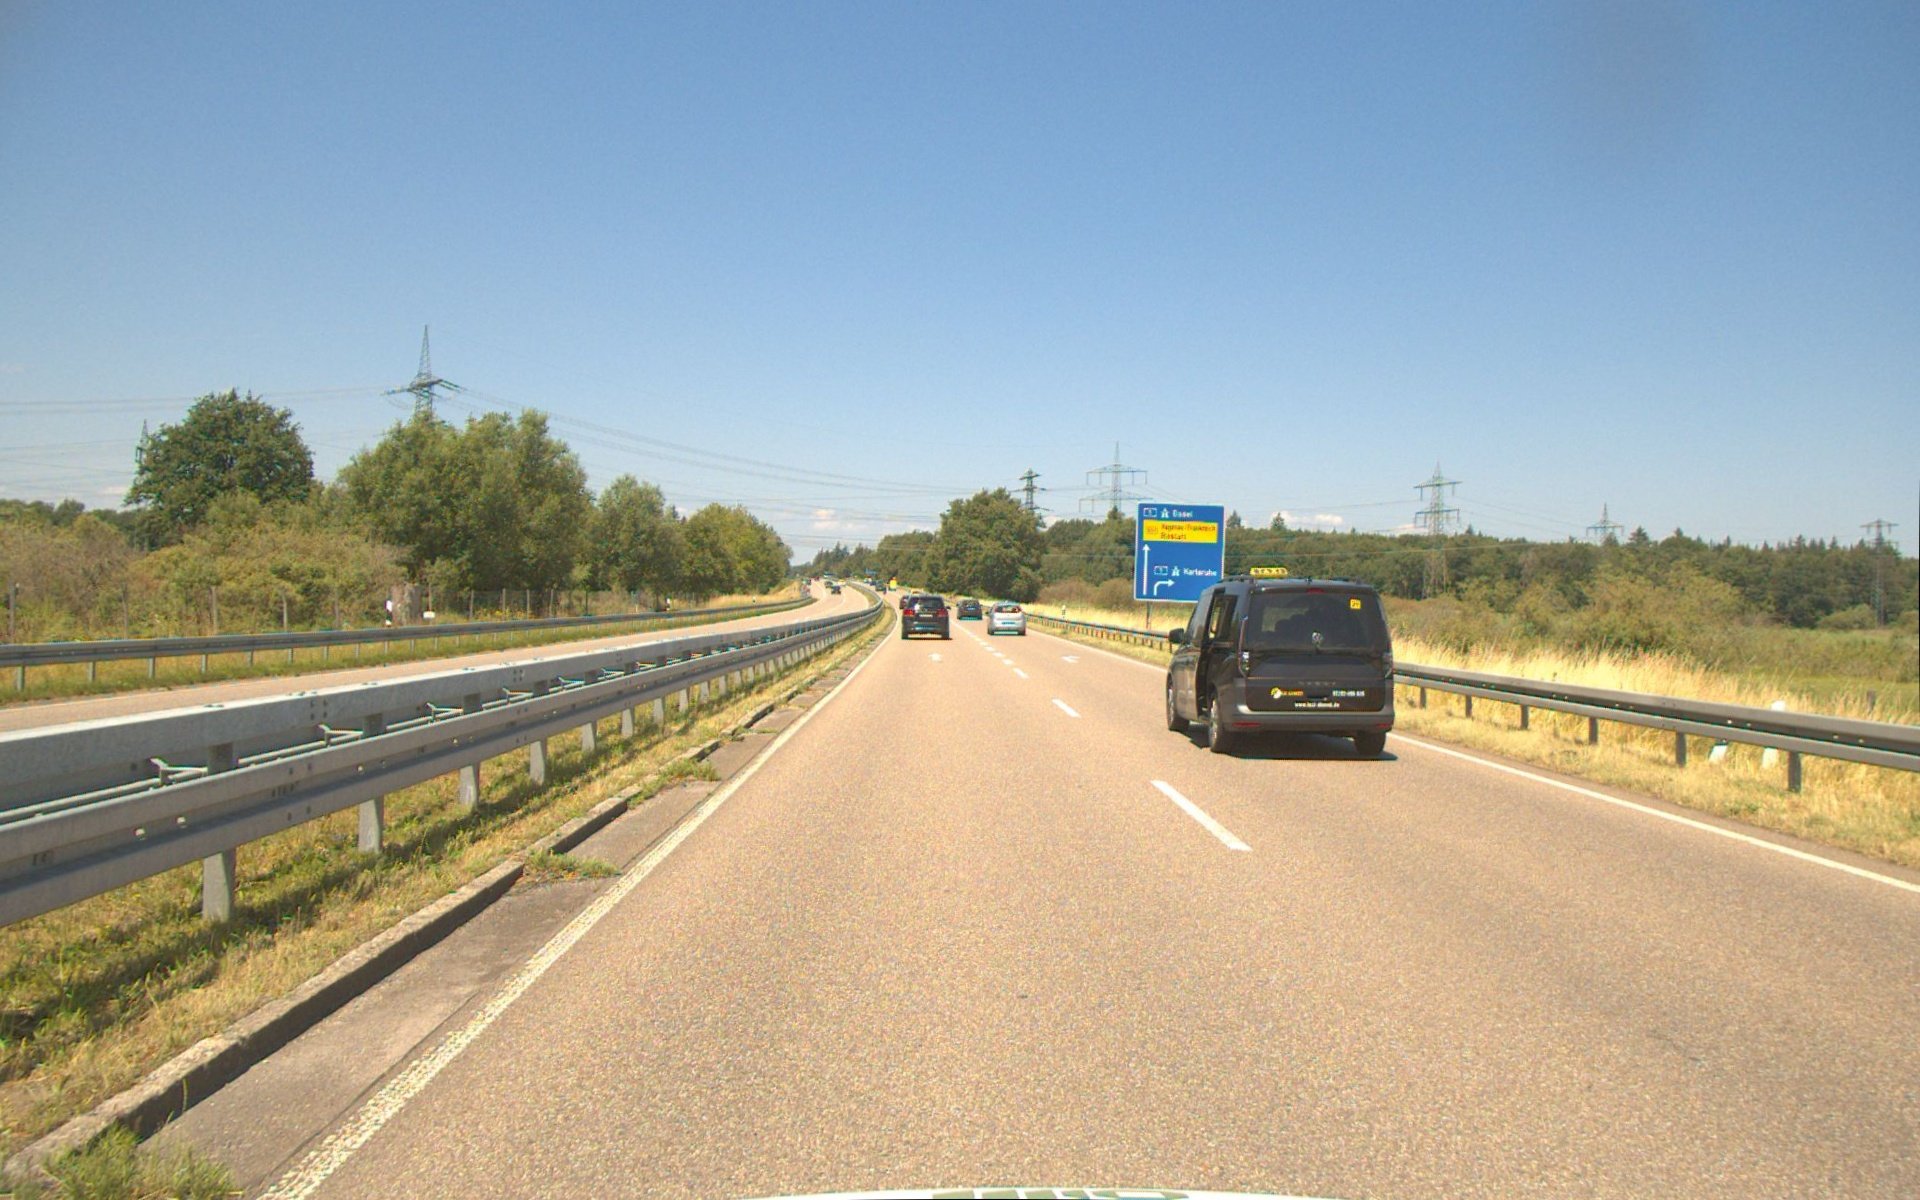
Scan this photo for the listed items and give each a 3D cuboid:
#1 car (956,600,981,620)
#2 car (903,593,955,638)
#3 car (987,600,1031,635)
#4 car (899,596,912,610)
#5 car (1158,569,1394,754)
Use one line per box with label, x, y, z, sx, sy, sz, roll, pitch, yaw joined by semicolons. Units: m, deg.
car;0.593;0.719;121.728;1.782;1.439;4.000;1;0;0
car;-1.252;0.625;66.454;1.953;1.683;3.999;2;0;-1
car;2.239;0.808;76.447;1.743;1.505;4.314;2;0;-1
car;-6.114;0.314;185.148;1.484;1.501;3.064;2;0;-2
car;3.460;0.626;18.886;1.744;1.848;4.211;1;0;-2
